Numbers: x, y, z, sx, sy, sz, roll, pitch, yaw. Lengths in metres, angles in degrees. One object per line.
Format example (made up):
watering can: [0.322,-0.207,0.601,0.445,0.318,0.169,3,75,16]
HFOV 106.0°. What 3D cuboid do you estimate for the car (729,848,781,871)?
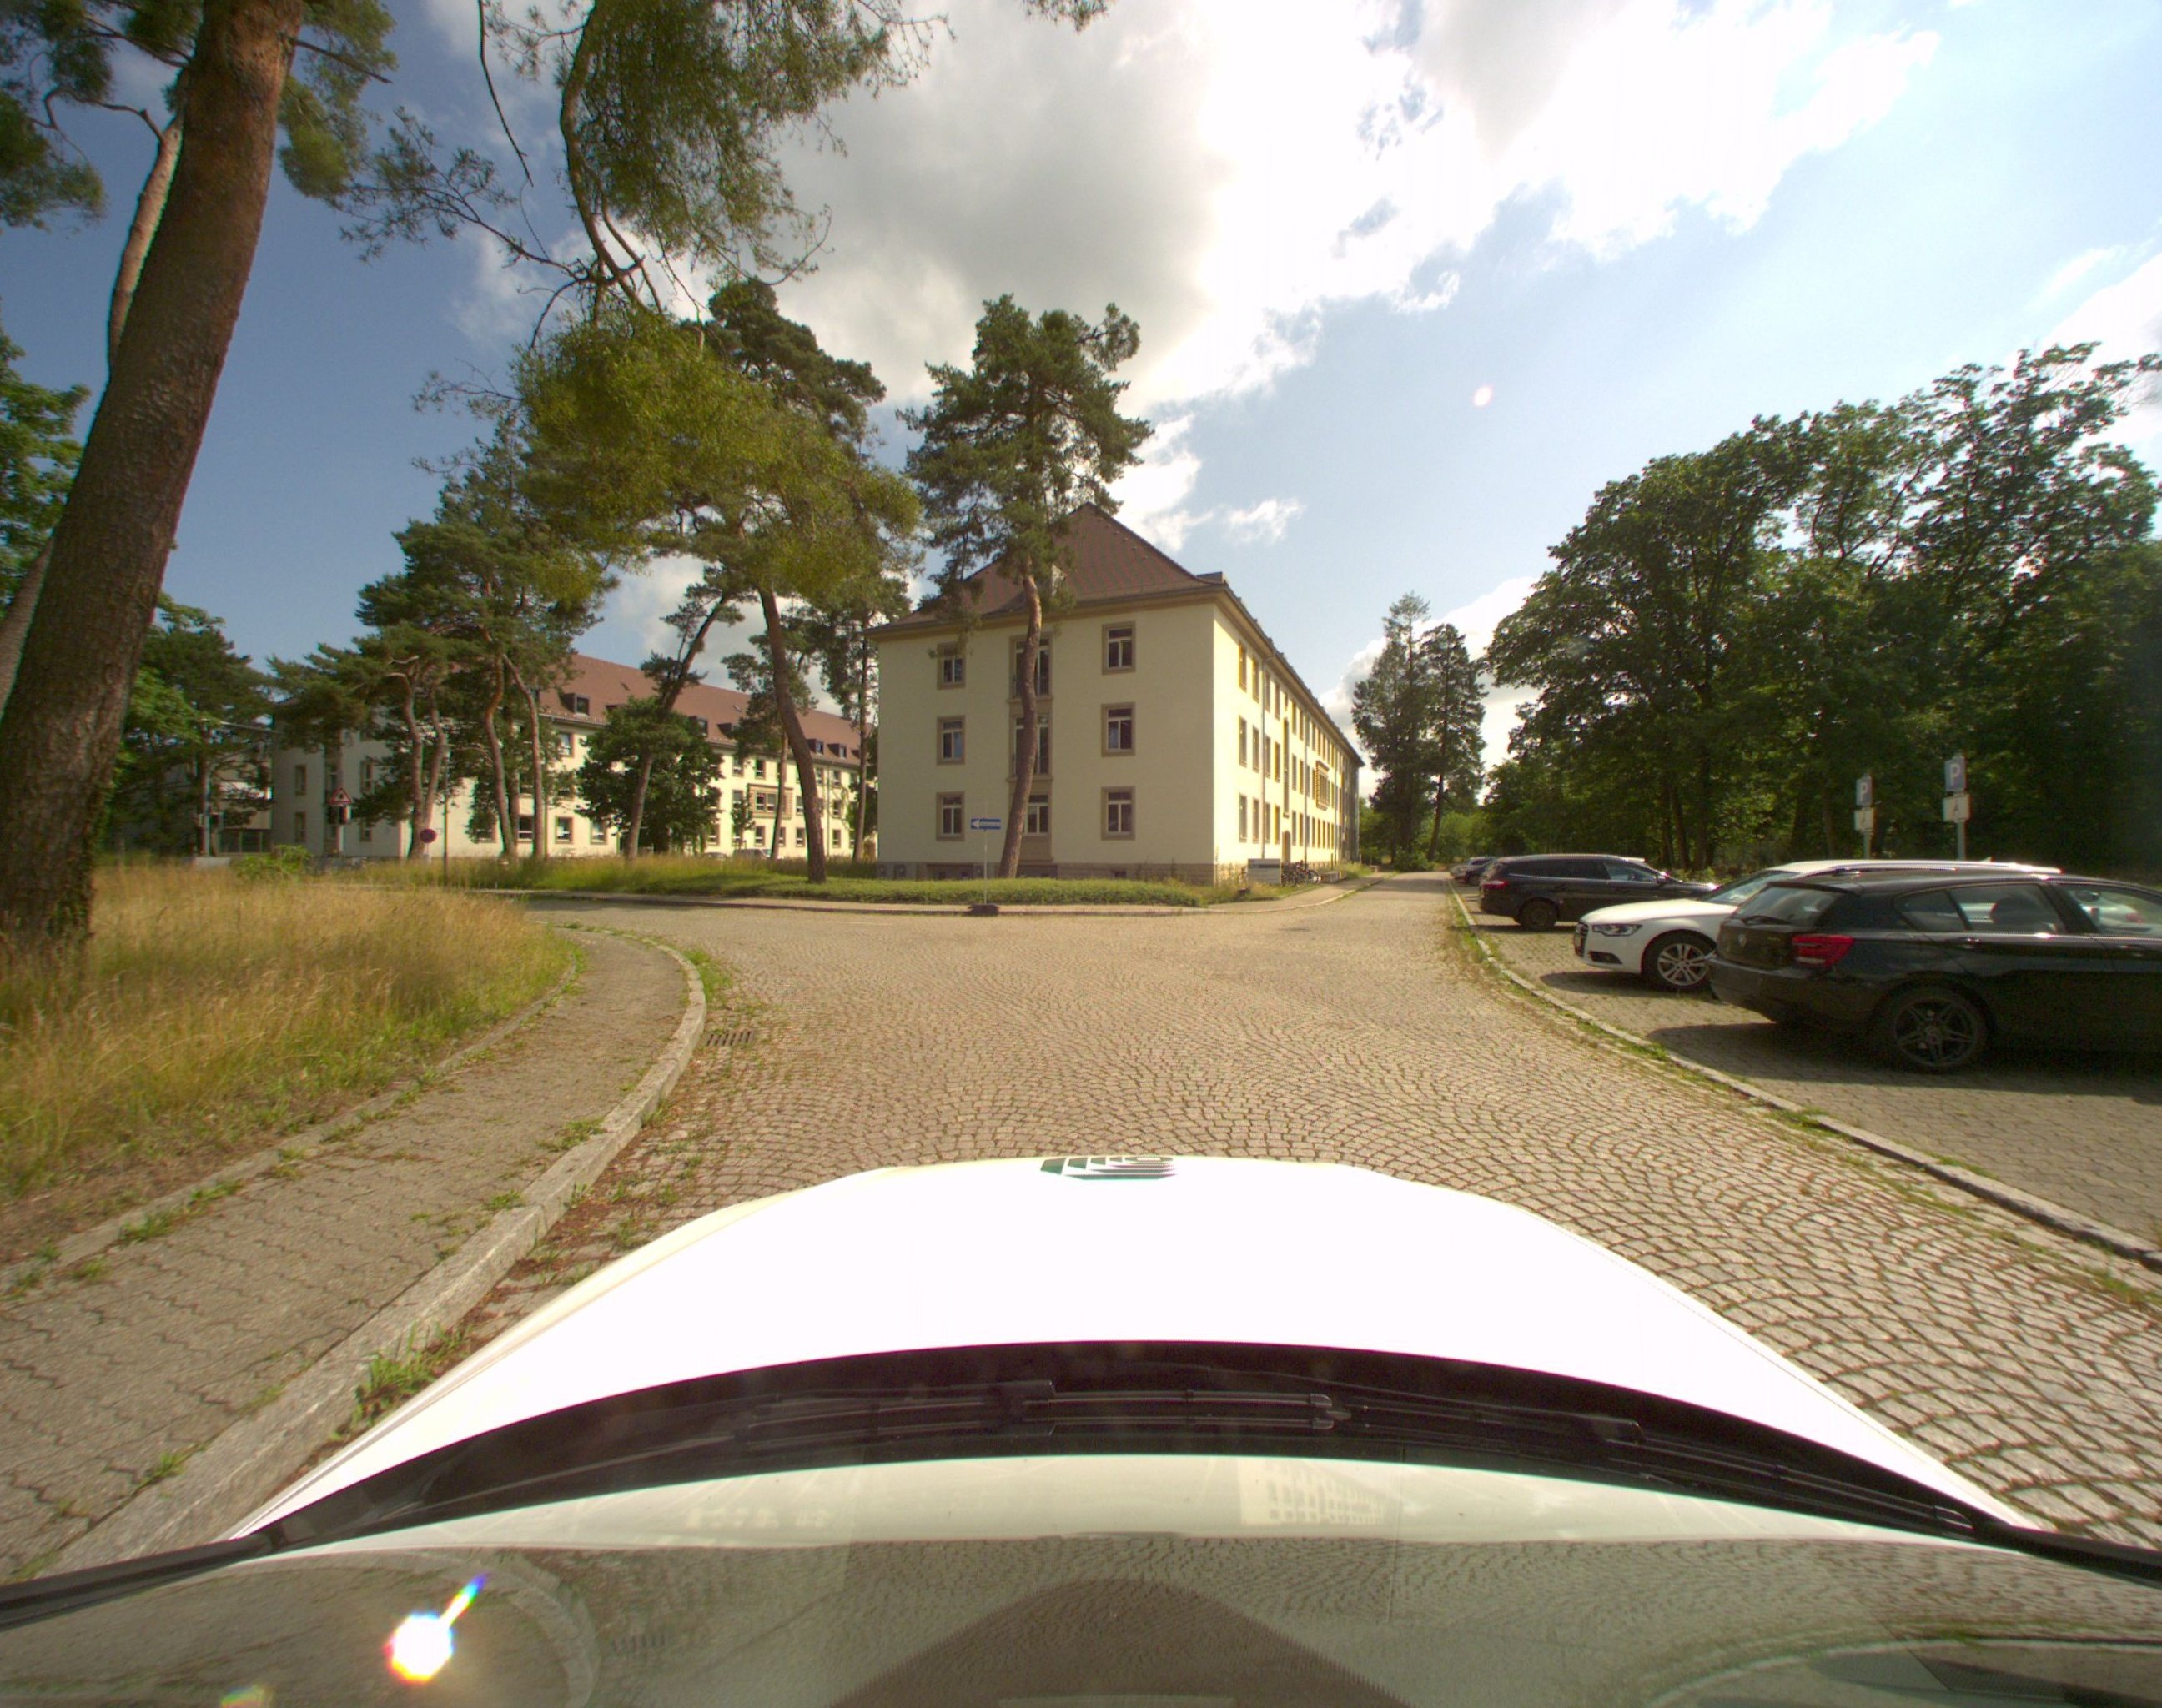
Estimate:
car: [-27.725,0.472,69.294,4.023,1.991,1.722,0,-1,24]

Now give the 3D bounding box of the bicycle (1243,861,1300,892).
bicycle: [7.819,0.907,33.495,2.201,1.260,0.627,0,-1,29]

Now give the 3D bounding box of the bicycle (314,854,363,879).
bicycle: [-34.432,0.573,37.774,0.485,1.101,1.596,0,0,35]

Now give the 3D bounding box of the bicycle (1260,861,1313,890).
bicycle: [9.032,0.932,35.817,2.202,1.260,0.626,0,-1,25]

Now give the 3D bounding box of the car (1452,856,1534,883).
car: [23.990,0.898,47.555,4.149,1.484,1.830,-2,-1,25]

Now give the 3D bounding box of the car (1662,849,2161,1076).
car: [7.474,0.753,6.448,4.293,1.500,1.837,-1,0,14]

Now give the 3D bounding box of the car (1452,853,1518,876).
car: [28.777,0.764,58.168,4.149,1.484,1.830,-2,-1,25]

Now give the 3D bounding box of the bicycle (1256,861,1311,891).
bicycle: [8.699,0.914,35.023,2.201,1.260,0.627,0,-1,29]

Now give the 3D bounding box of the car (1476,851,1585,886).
car: [20.448,0.679,37.269,4.227,1.484,1.830,-2,-1,25]

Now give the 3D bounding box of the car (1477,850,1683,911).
car: [12.929,0.717,21.437,4.360,1.484,1.775,-1,-1,21]

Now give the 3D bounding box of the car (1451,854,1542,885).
car: [21.668,0.837,42.648,4.149,1.543,1.830,-2,-1,25]

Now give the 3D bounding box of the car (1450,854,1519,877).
car: [27.586,0.793,55.758,4.149,1.484,1.830,-2,-1,25]

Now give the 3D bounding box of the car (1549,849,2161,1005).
car: [8.379,0.744,9.510,4.820,1.472,1.884,-1,0,21]

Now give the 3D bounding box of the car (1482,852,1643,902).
car: [15.044,0.744,25.722,4.169,1.484,1.830,-2,-1,25]

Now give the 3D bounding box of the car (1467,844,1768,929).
car: [10.608,0.667,16.593,4.811,1.553,1.889,-1,-1,21]

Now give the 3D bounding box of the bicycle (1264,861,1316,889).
bicycle: [9.415,0.937,36.757,2.202,1.260,0.626,0,-1,25]

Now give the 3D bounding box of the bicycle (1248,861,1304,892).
bicycle: [8.175,0.925,34.239,2.202,1.260,0.626,0,-1,25]

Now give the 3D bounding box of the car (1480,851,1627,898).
car: [15.945,0.713,27.744,4.149,1.484,1.769,-2,-1,25]
